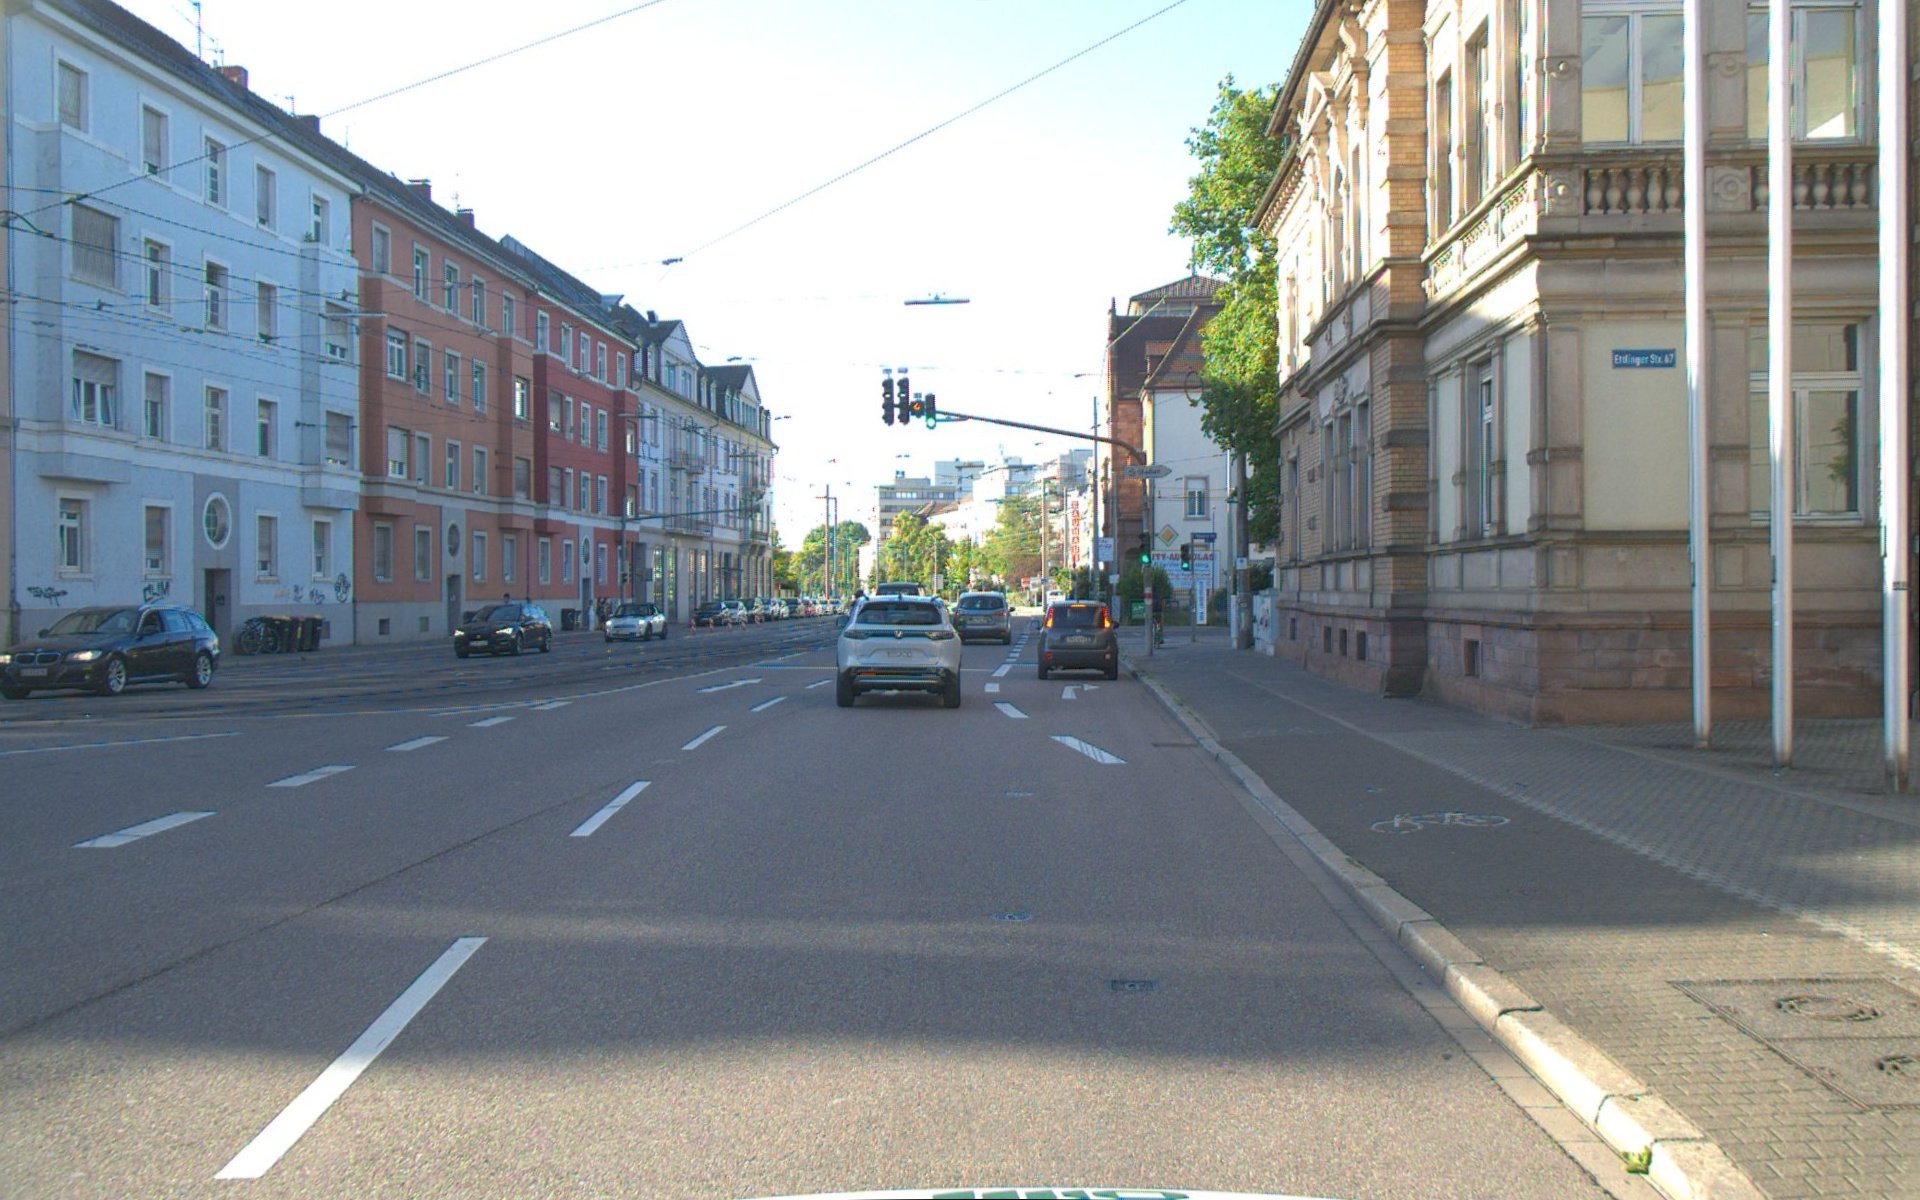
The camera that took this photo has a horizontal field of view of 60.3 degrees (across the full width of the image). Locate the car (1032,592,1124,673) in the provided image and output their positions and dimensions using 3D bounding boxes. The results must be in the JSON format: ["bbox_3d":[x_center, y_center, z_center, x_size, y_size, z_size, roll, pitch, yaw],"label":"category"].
[{"bbox_3d":[2.464,0.615,33.793,1.694,1.527,4.003,0,0,6],"label":"car"}]

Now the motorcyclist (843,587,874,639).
[{"bbox_3d":[-2.858,0.365,46.630,0.761,1.448,0.891,0,0,3],"label":"motorcyclist"}]

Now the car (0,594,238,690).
[{"bbox_3d":[-13.822,0.624,27.035,1.952,1.416,4.562,0,0,1],"label":"car"}]

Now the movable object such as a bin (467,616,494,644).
[{"bbox_3d":[-18.954,1.180,65.429,0.826,1.059,0.811,-1,0,-1],"label":"movable object such as a bin"}]

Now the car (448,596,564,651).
[{"bbox_3d":[-12.940,0.635,47.447,1.882,1.481,4.500,0,0,3],"label":"car"}]

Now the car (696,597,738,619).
[{"bbox_3d":[-14.363,0.479,98.000,1.683,1.254,4.002,-1,0,3],"label":"car"}]

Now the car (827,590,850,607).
[{"bbox_3d":[-11.866,-0.151,161.355,1.683,1.579,4.002,-1,0,3],"label":"car"}]

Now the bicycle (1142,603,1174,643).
[{"bbox_3d":[5.695,0.651,47.738,0.755,1.105,1.871,0,0,2],"label":"bicycle"}]

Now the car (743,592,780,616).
[{"bbox_3d":[-13.805,0.255,115.314,1.797,1.579,4.276,-1,0,3],"label":"car"}]

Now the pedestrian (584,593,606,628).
[{"bbox_3d":[-17.687,0.515,80.167,0.776,1.662,0.654,0,0,22],"label":"pedestrian"}]

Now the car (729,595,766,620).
[{"bbox_3d":[-13.924,0.508,108.533,1.683,1.579,3.858,-1,0,3],"label":"car"}]

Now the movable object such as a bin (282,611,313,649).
[{"bbox_3d":[-19.980,0.899,49.917,0.687,1.125,0.583,0,0,3],"label":"movable object such as a bin"}]

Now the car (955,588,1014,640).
[{"bbox_3d":[0.820,0.424,53.406,1.776,1.610,4.001,-1,0,3],"label":"car"}]

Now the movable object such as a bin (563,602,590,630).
[{"bbox_3d":[-18.162,0.748,78.330,0.852,1.271,1.234,-1,0,9],"label":"movable object such as a bin"}]

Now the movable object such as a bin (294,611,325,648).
[{"bbox_3d":[-19.874,0.905,50.549,0.687,1.125,0.583,0,0,3],"label":"movable object such as a bin"}]

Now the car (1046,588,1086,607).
[{"bbox_3d":[11.701,-0.240,182.798,4.176,2.049,1.998,0,0,-6],"label":"car"}]

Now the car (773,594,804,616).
[{"bbox_3d":[-12.998,0.384,125.504,1.683,1.579,4.002,-1,0,3],"label":"car"}]

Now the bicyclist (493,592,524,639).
[{"bbox_3d":[-16.192,0.556,59.381,0.731,1.671,1.126,-1,0,3],"label":"bicyclist"}]

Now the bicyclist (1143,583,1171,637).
[{"bbox_3d":[5.699,0.293,47.839,0.816,1.552,0.994,0,0,7],"label":"bicyclist"}]

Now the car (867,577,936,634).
[{"bbox_3d":[-2.116,0.187,61.490,2.126,2.044,4.810,-1,0,3],"label":"car"}]

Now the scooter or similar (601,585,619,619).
[{"bbox_3d":[-17.519,0.105,82.769,0.645,1.662,0.788,0,0,-29],"label":"scooter or similar"}]

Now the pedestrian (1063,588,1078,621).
[{"bbox_3d":[6.226,0.266,93.090,0.857,1.856,1.185,0,0,4],"label":"pedestrian"}]

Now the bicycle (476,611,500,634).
[{"bbox_3d":[-19.121,0.902,66.996,0.327,0.906,1.605,-1,0,8],"label":"bicycle"}]

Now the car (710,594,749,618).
[{"bbox_3d":[-14.404,0.351,103.598,1.683,1.477,4.002,-1,0,3],"label":"car"}]

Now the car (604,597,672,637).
[{"bbox_3d":[-11.968,0.614,61.689,1.690,1.399,3.535,-1,0,2],"label":"car"}]

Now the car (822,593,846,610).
[{"bbox_3d":[-11.807,0.158,155.328,1.683,1.579,4.002,-1,0,3],"label":"car"}]

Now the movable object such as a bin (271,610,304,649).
[{"bbox_3d":[-20.023,0.872,49.272,0.687,1.125,0.649,0,0,3],"label":"movable object such as a bin"}]

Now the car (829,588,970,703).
[{"bbox_3d":[-0.820,0.598,24.458,1.907,1.555,4.090,0,0,0],"label":"car"}]

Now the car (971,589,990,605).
[{"bbox_3d":[2.301,-0.349,184.102,1.952,1.691,4.498,0,1,2],"label":"car"}]

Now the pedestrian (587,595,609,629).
[{"bbox_3d":[-17.765,0.571,81.227,0.821,1.662,0.786,0,0,-35],"label":"pedestrian"}]

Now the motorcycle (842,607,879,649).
[{"bbox_3d":[-2.791,0.777,46.682,0.761,1.101,2.282,0,0,3],"label":"motorcycle"}]

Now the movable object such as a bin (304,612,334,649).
[{"bbox_3d":[-19.824,0.930,51.172,0.687,1.125,0.583,0,0,3],"label":"movable object such as a bin"}]

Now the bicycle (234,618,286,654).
[{"bbox_3d":[-20.167,1.017,47.662,0.593,0.997,1.878,1,0,3],"label":"bicycle"}]
